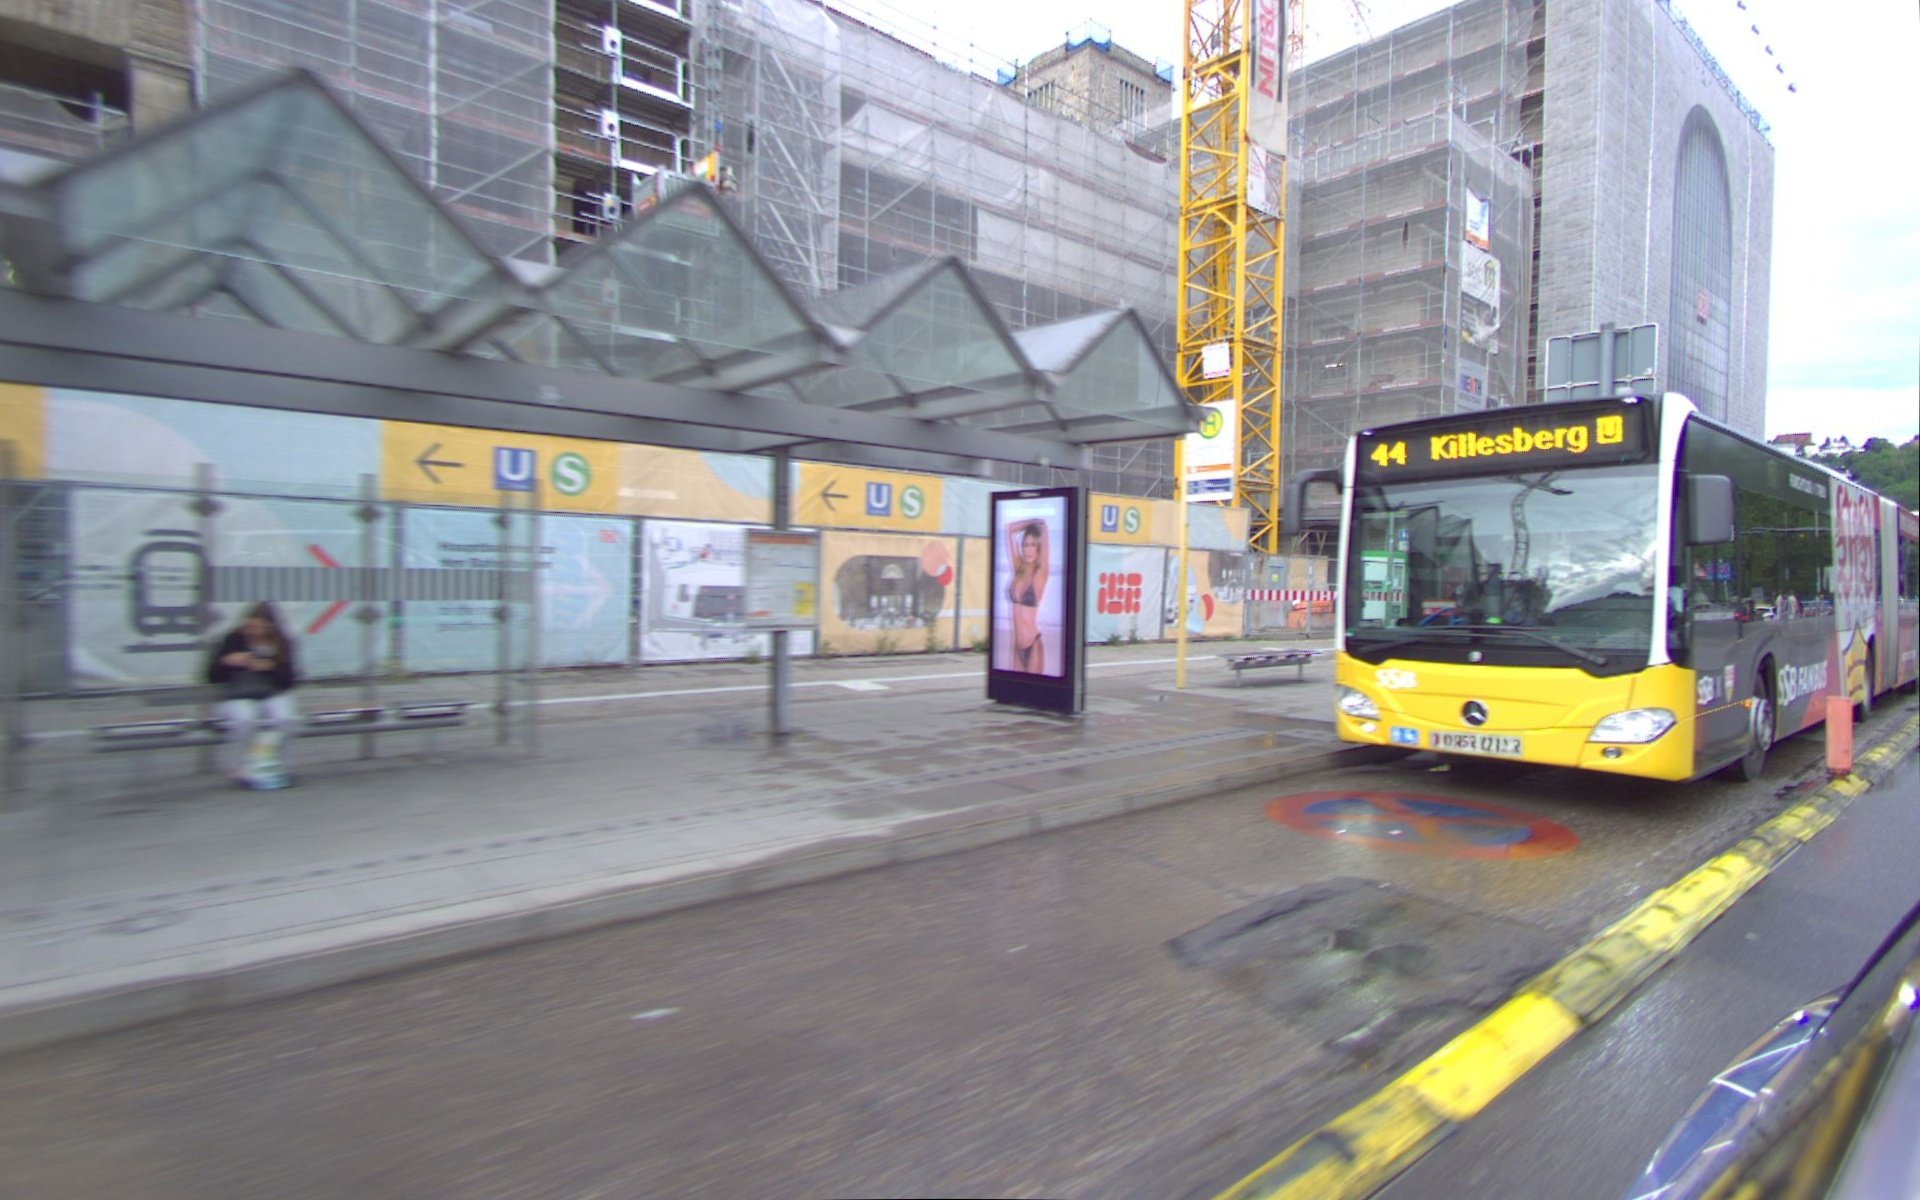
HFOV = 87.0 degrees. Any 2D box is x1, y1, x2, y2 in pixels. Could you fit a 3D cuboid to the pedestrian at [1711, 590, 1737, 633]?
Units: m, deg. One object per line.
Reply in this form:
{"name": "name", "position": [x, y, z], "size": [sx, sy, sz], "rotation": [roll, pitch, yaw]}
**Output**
{"name": "pedestrian", "position": [30.299, 0.446, 40.141], "size": [0.978, 1.652, 0.550], "rotation": [0, 4, -42]}

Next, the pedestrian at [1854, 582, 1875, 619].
{"name": "pedestrian", "position": [44.837, 0.022, 50.181], "size": [0.556, 1.780, 0.742], "rotation": [5, 3, 35]}

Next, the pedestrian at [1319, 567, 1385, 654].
{"name": "pedestrian", "position": [7.658, 0.198, 19.792], "size": [0.811, 1.655, 0.911], "rotation": [0, 1, -14]}

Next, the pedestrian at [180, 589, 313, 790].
{"name": "pedestrian", "position": [-4.673, 0.540, 6.618], "size": [0.654, 1.201, 0.666], "rotation": [0, 2, -40]}

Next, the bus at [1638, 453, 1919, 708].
{"name": "bus", "position": [13.919, -0.310, 16.318], "size": [8.922, 3.107, 2.760], "rotation": [-1, 1, -41]}

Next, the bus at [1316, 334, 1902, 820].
{"name": "bus", "position": [7.237, -0.216, 10.439], "size": [8.837, 3.104, 2.760], "rotation": [-1, 1, -41]}
